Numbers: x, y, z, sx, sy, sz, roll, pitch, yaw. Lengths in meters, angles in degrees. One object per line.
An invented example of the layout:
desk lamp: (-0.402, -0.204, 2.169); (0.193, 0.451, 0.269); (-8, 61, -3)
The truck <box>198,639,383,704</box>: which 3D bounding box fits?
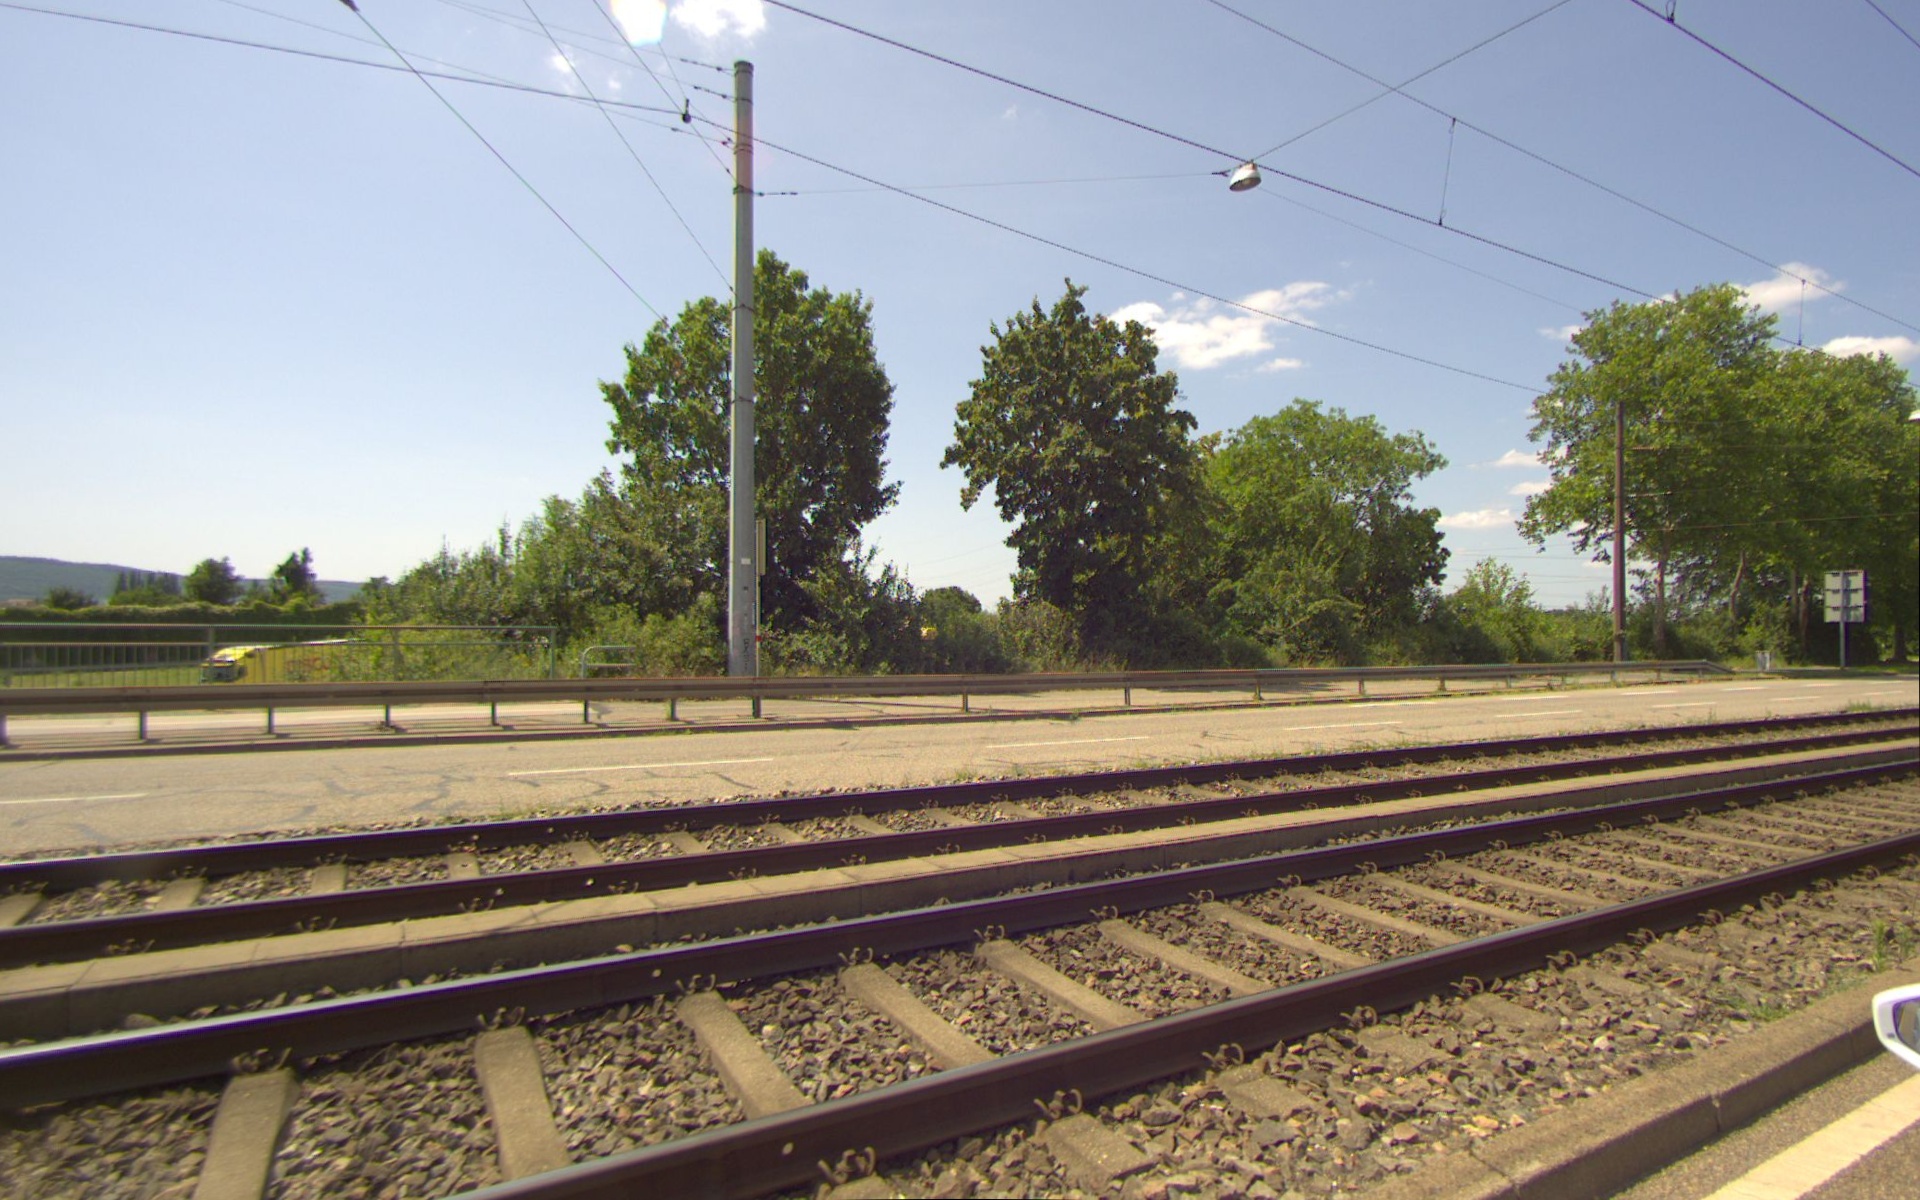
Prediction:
truck: (-49.627, 5.113, 75.620); (2.588, 3.811, 16.555); (1, -1, 1)
